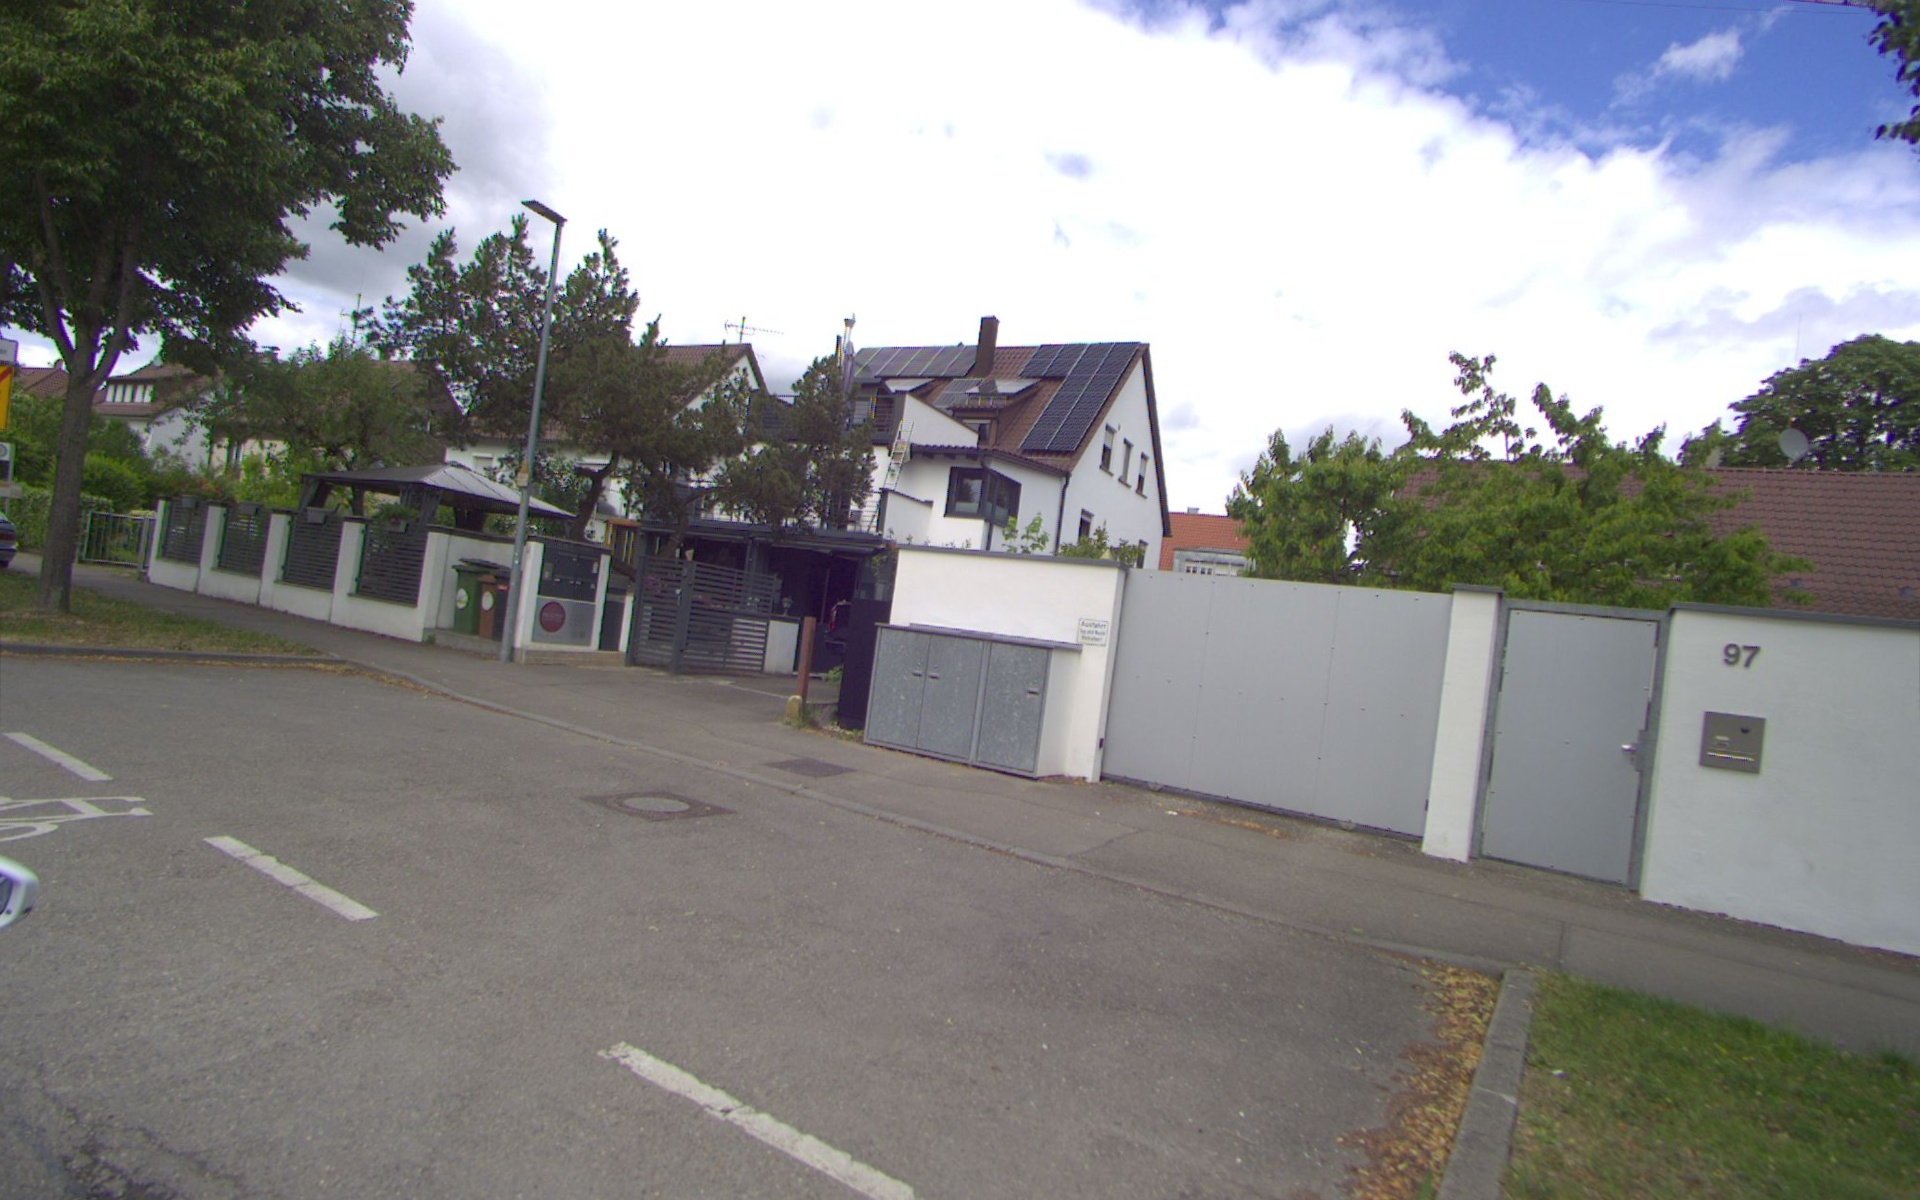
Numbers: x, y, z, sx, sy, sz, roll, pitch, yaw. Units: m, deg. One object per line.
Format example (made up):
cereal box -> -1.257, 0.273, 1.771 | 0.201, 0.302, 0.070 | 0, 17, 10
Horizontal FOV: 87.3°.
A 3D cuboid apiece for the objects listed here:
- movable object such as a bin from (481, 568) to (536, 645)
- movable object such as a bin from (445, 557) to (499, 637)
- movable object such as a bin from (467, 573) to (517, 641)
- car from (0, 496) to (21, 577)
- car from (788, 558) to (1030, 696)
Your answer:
movable object such as a bin -> -6.479, 0.093, 14.447 | 0.447, 1.034, 0.437 | 7, 0, 33
movable object such as a bin -> -7.331, -0.037, 15.118 | 0.447, 1.123, 0.437 | 7, 0, 33
movable object such as a bin -> -6.900, 0.107, 14.844 | 0.389, 0.931, 0.437 | 7, 0, 33
car -> -18.963, -1.348, 18.280 | 4.315, 1.393, 1.614 | 5, -2, 32
car -> -0.670, 0.617, 17.972 | 2.012, 1.925, 5.202 | 6, -2, 24
